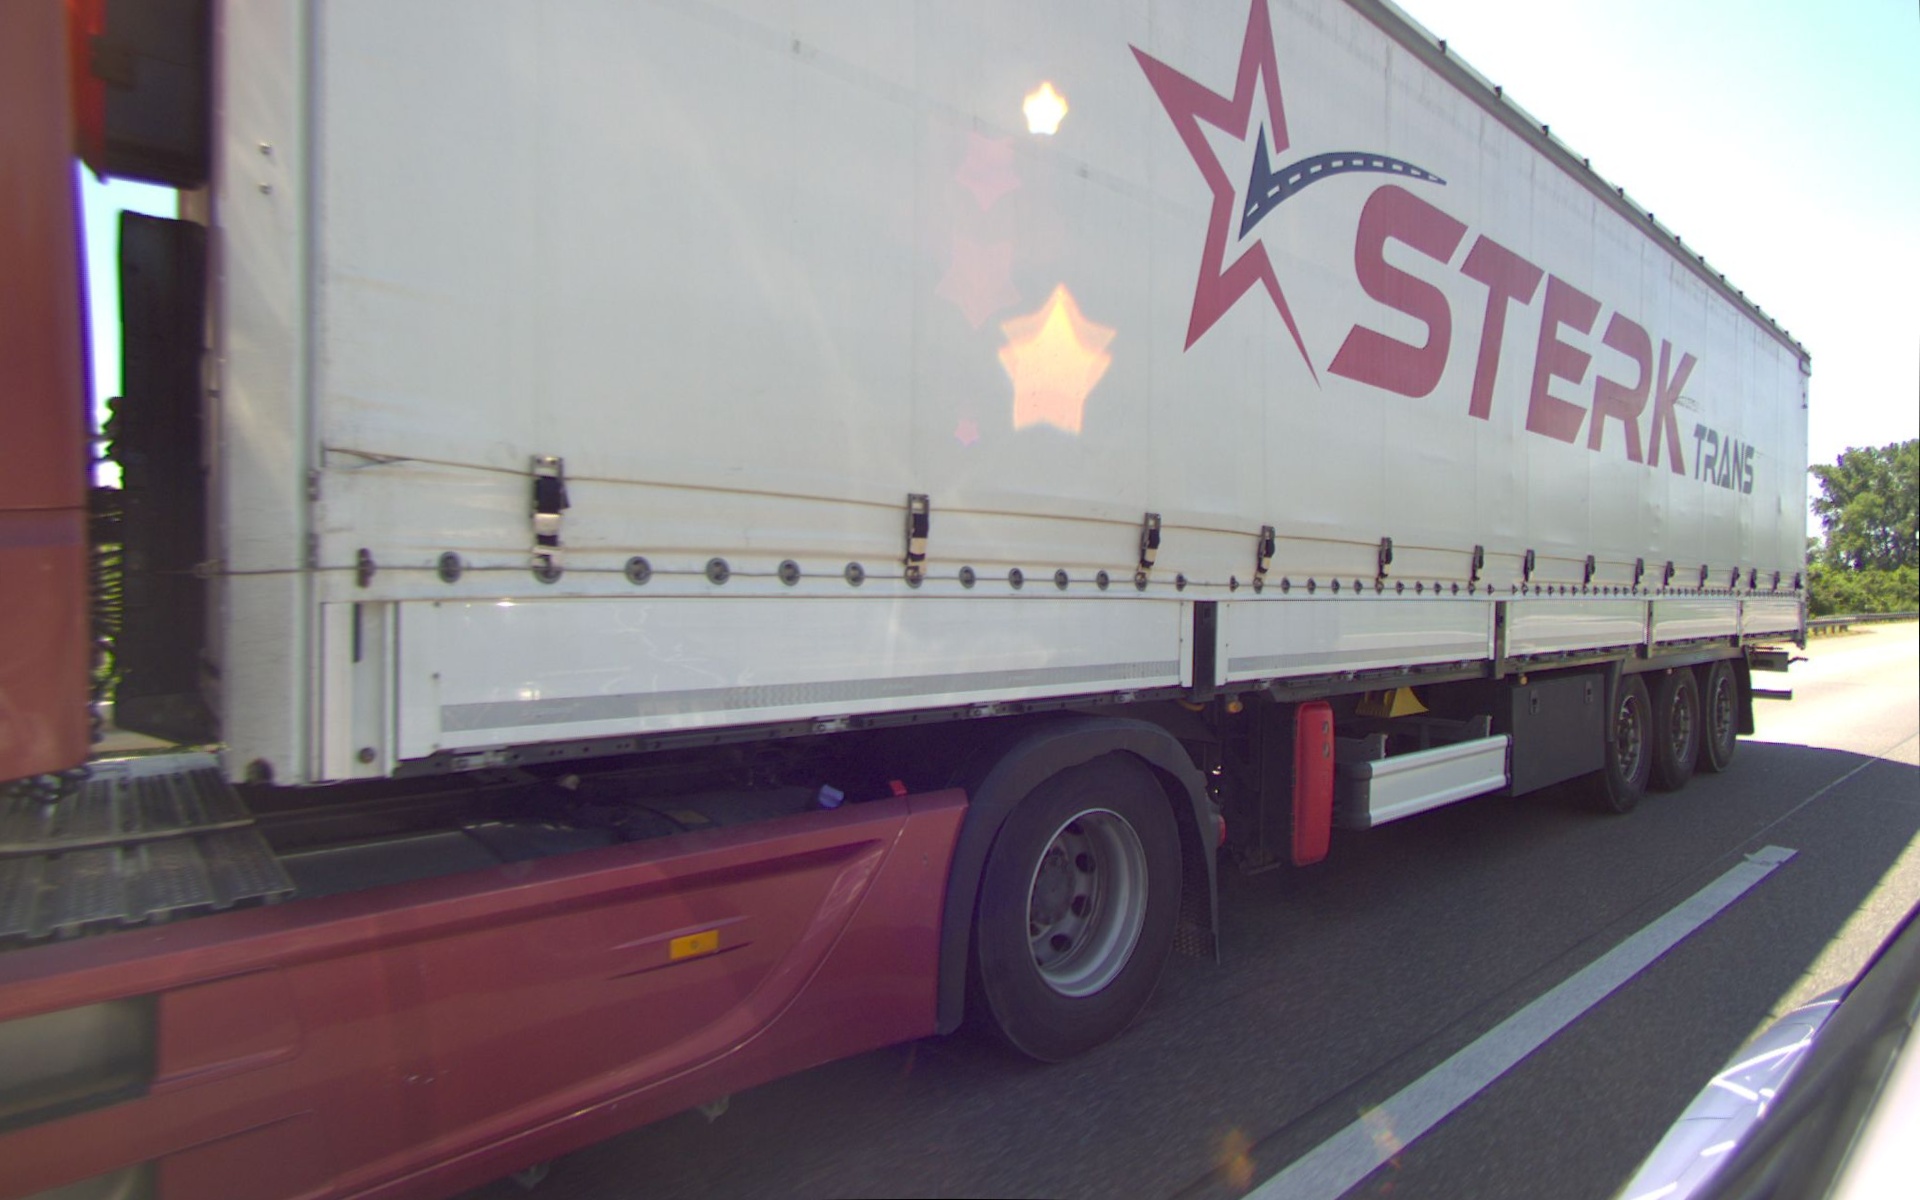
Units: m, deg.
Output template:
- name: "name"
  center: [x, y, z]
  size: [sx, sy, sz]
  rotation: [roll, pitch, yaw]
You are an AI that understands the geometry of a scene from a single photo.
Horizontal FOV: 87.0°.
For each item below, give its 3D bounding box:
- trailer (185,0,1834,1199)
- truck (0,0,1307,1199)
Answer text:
- name: "trailer"
  center: [3.241, -0.795, 7.311]
  size: [13.903, 4.140, 2.712]
  rotation: [0, 0, -41]
- name: "truck"
  center: [-2.164, -0.812, 2.656]
  size: [6.841, 4.140, 2.712]
  rotation: [0, 0, -40]
